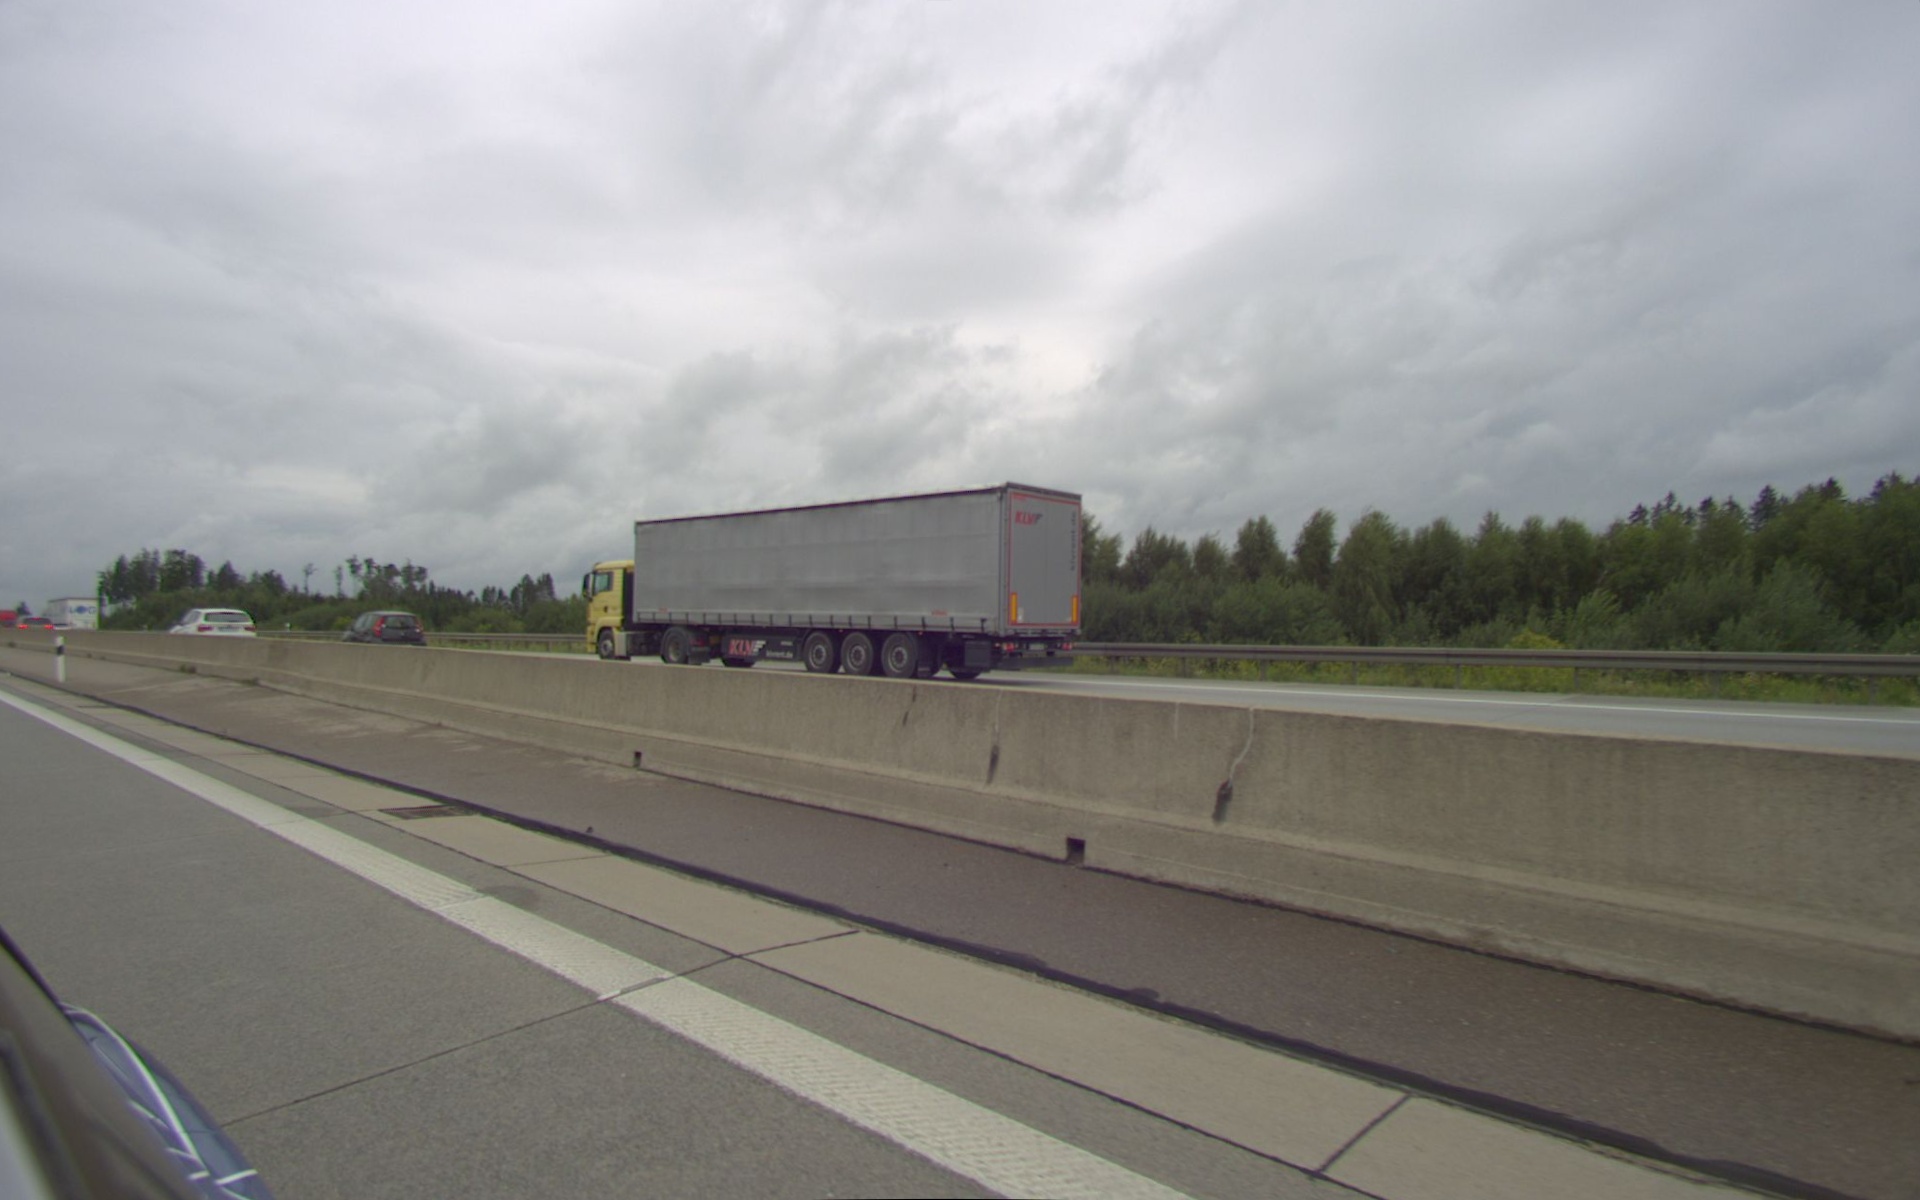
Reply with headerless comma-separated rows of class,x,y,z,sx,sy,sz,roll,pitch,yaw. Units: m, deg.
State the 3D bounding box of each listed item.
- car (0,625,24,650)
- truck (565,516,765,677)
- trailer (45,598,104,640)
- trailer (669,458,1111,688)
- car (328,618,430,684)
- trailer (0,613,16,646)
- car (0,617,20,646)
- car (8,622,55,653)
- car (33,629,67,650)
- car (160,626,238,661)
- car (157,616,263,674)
car,-78.194,3.110,82.824,4.723,2.029,1.783,-3,-3,41
truck,-8.651,0.044,29.416,5.854,4.212,2.901,-3,-3,41
trailer,-92.080,2.131,105.184,13.007,4.033,2.857,-3,-3,41
trailer,-2.273,-0.263,23.704,11.868,4.250,2.887,-3,-3,42
car,-19.008,1.662,33.036,3.997,2.029,1.628,-3,-3,41
trailer,-146.135,4.556,153.021,12.901,4.837,3.560,-3,-3,41
car,-102.283,3.411,108.203,5.573,2.981,1.783,-2,-3,39
car,-61.366,2.506,66.854,4.834,2.029,1.670,-3,-3,40
car,-76.113,3.310,84.668,4.575,1.762,1.480,-3,-3,40
car,-38.286,2.170,50.835,5.265,1.679,2.013,-2,-3,41
car,-26.069,1.549,35.120,4.602,1.882,2.013,-2,-3,42
